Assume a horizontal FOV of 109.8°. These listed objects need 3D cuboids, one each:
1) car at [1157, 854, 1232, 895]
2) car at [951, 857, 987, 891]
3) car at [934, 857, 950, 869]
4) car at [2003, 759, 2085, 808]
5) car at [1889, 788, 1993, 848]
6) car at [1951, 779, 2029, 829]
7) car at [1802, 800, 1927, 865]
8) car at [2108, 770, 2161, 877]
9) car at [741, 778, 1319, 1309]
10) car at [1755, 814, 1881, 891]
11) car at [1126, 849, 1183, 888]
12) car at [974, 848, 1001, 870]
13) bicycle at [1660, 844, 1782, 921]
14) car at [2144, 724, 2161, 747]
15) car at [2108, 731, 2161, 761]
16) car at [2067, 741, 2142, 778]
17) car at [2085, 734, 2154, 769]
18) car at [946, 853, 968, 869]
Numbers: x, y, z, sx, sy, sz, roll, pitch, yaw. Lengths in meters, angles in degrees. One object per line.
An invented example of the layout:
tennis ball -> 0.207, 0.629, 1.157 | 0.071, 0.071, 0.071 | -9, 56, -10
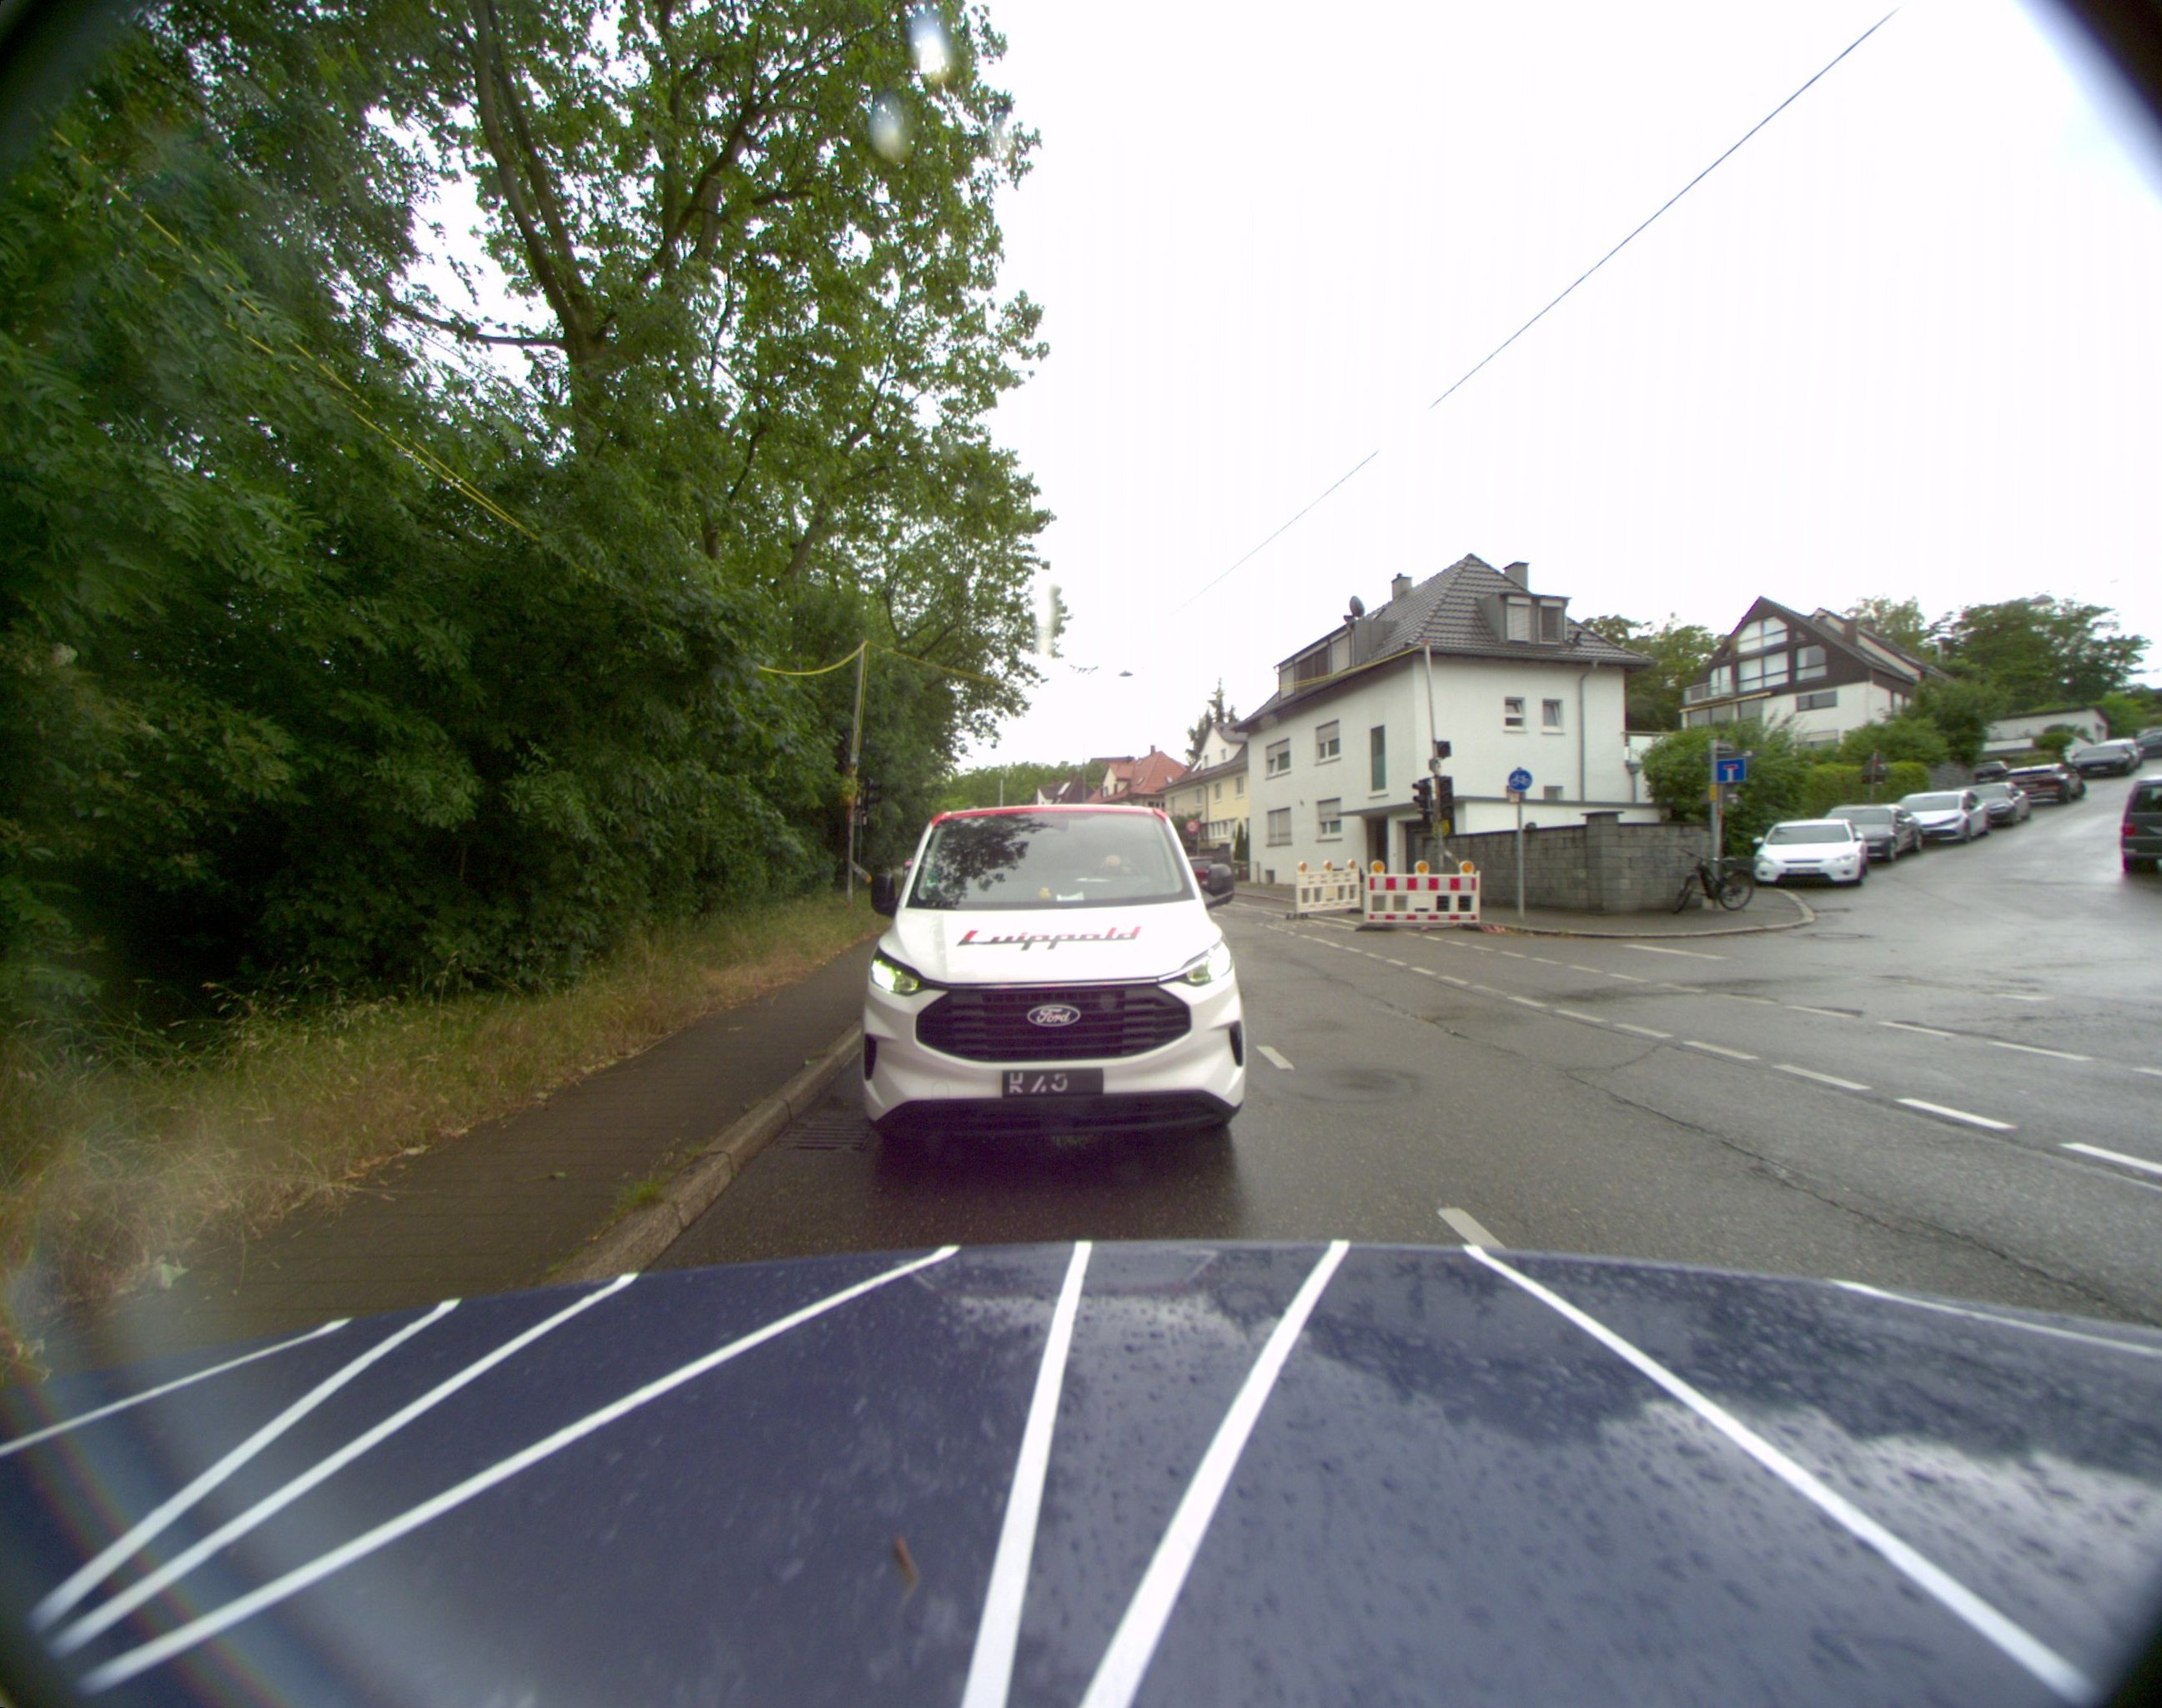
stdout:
car -> 4.379, 0.825, 29.905 | 1.898, 1.485, 3.795 | -1, -2, -8
car -> -5.735, 1.033, 39.186 | 1.670, 1.579, 4.004 | -3, -2, -8
car -> -18.865, 1.143, 103.010 | 1.767, 1.519, 3.585 | -2, 1, -17
car -> 40.603, -2.978, 32.030 | 3.988, 1.547, 1.333 | -9, 3, -26
car -> 27.258, -1.162, 24.058 | 3.859, 1.458, 1.579 | -8, 4, -32
car -> 32.230, -1.792, 26.917 | 3.508, 1.383, 1.333 | -8, 4, -32
car -> 22.447, -0.638, 21.744 | 3.859, 1.458, 1.700 | -7, 2, -32
car -> 23.632, -0.751, 16.065 | 3.801, 1.926, 1.911 | -9, 3, -31
car -> -0.148, 0.672, 5.385 | 2.045, 1.883, 5.208 | -2, 1, 1
car -> 17.694, -0.063, 18.202 | 3.566, 1.458, 1.746 | -7, 2, -39
car -> 3.276, 0.691, 34.702 | 1.670, 1.579, 4.004 | -3, -2, -8
car -> -9.391, 0.494, 76.021 | 2.001, 2.002, 3.994 | -2, 1, -17
bicycle -> 11.721, 0.509, 13.929 | 1.732, 1.304, 0.707 | -2, 1, -7
car -> 81.263, -8.935, 55.758 | 1.624, 1.492, 3.514 | -9, 3, -24
car -> 68.144, -6.958, 48.099 | 1.582, 1.492, 3.607 | -10, 4, -34
car -> 54.767, -5.061, 40.649 | 3.834, 1.492, 1.733 | -9, 3, -26
car -> 60.541, -5.986, 44.277 | 3.834, 1.492, 1.733 | -9, 3, -26
car -> -15.355, 0.788, 94.052 | 2.001, 1.850, 4.354 | -2, 1, -17
